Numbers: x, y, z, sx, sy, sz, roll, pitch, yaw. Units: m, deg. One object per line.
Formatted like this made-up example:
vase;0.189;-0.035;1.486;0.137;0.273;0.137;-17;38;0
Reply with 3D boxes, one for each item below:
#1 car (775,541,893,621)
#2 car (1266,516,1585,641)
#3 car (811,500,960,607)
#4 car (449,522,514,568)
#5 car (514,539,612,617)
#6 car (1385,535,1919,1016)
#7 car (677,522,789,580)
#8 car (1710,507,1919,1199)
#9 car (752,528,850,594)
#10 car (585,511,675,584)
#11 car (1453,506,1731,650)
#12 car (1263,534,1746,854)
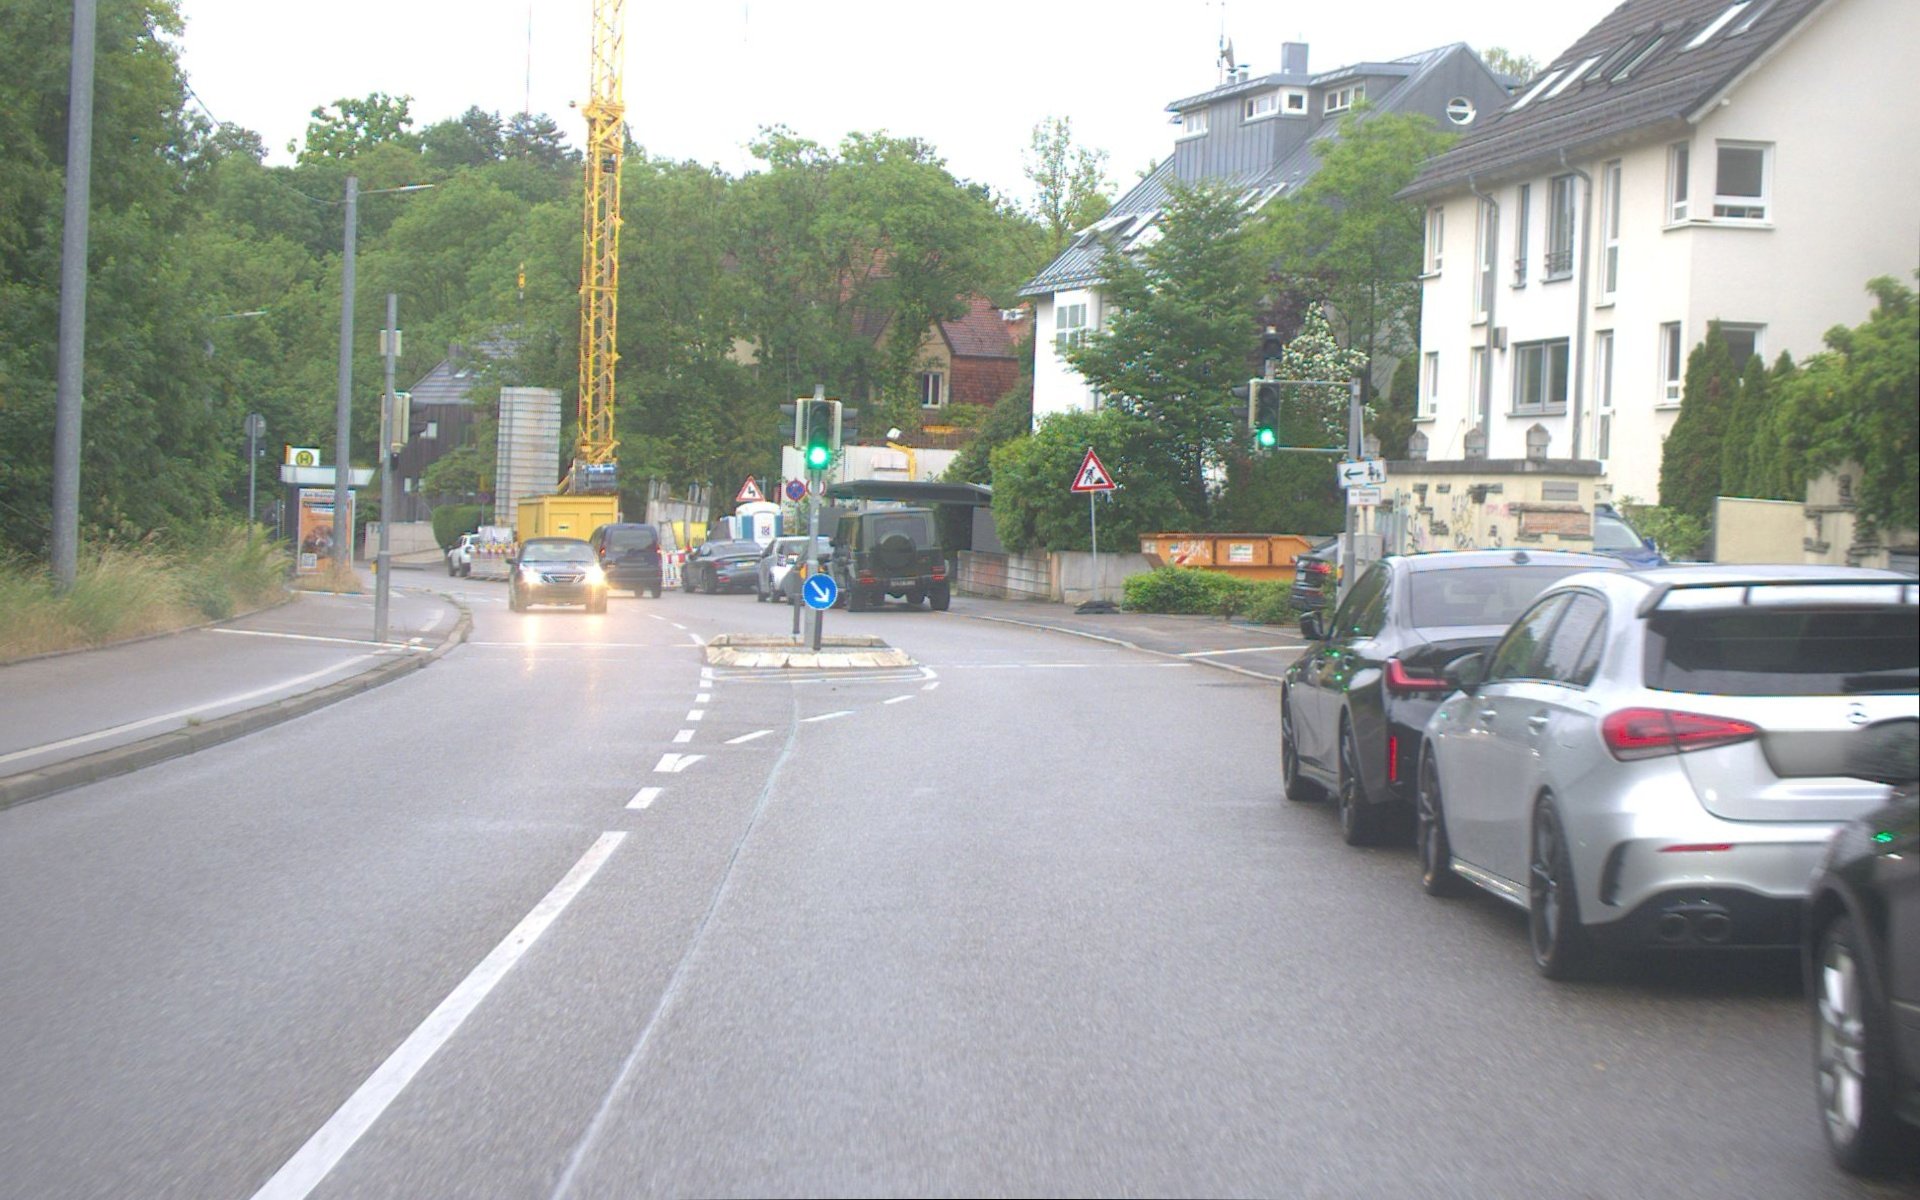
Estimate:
car;-2.711;-0.427;72.988;1.931;1.590;4.396;-2;1;-9
car;7.030;-0.327;52.139;4.326;1.590;1.993;4;0;-9
car;-1.524;-0.938;68.043;1.993;2.007;4.958;-1;1;-12
car;-18.436;-2.127;132.362;1.744;1.700;4.503;-1;2;-17
car;-7.719;-0.444;66.607;1.743;1.455;4.415;1;1;-8
car;2.830;0.544;12.957;1.793;1.481;4.495;1;0;-1
car;-6.051;-1.319;91.075;1.931;1.417;4.839;1;1;-16
car;2.896;0.596;6.956;1.730;1.562;4.522;0;1;0
car;-3.592;-0.883;77.122;1.672;1.452;3.387;0;1;-12
car;-8.263;-1.341;85.915;1.931;1.745;4.001;1;2;-10
car;7.794;-0.288;42.812;1.931;1.590;4.343;4;0;-10
car;2.699;0.414;18.049;1.751;1.438;4.601;1;0;0
